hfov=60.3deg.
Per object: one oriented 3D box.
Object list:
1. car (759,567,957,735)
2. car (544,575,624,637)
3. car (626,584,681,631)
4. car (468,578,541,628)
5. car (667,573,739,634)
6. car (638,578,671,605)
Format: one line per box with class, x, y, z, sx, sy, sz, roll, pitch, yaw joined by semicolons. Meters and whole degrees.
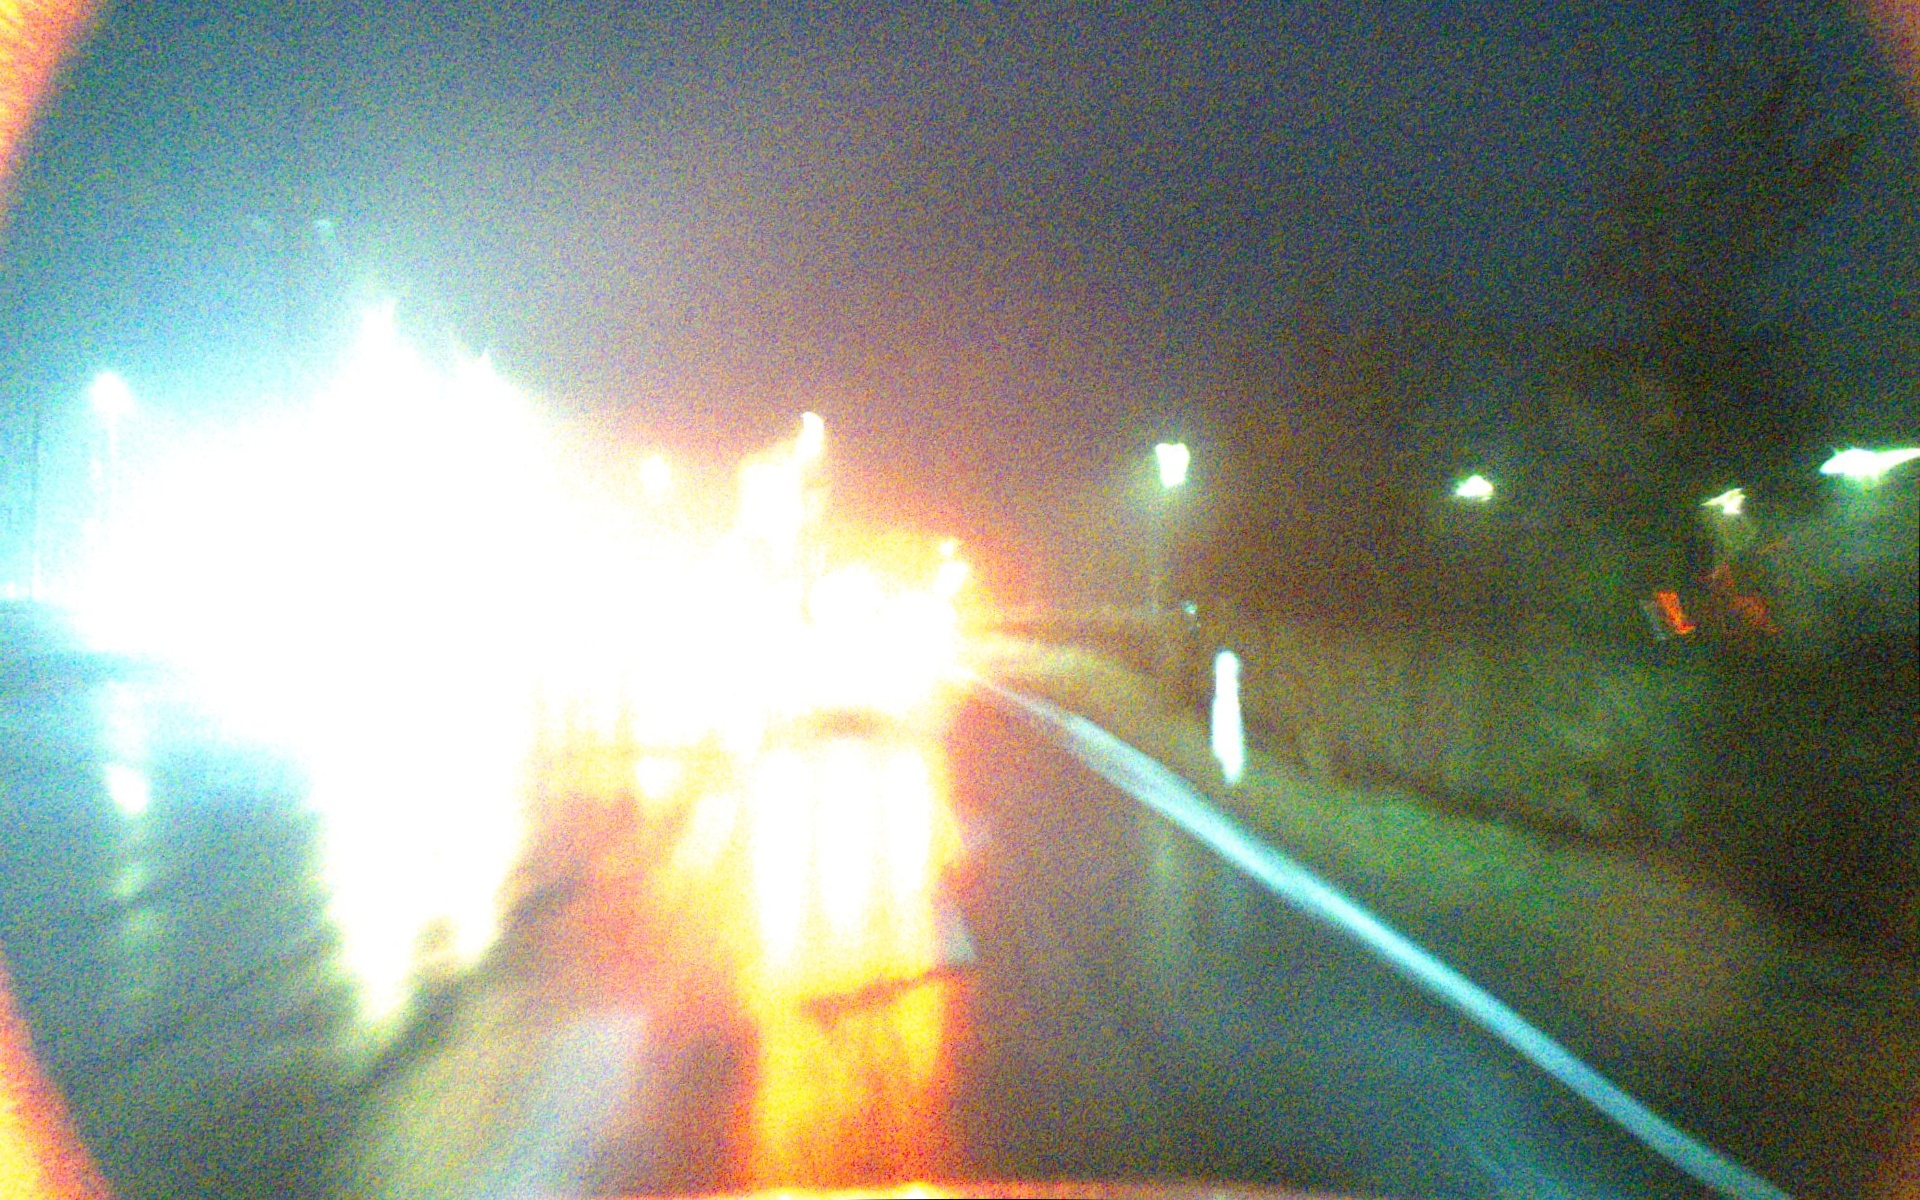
car;-1.221;0.538;19.047;1.955;1.656;4.979;1;-1;-5
car;-11.130;0.130;49.189;1.957;1.656;4.974;-2;1;-9
car;-11.847;0.238;64.208;1.957;1.656;4.974;-2;1;-9
car;-16.431;0.068;59.880;1.957;1.656;4.974;-2;1;-9
car;-7.627;0.053;48.975;1.957;1.656;4.974;-2;1;-9
car;-20.273;-0.575;109.626;1.959;1.656;4.970;-2;1;-12
